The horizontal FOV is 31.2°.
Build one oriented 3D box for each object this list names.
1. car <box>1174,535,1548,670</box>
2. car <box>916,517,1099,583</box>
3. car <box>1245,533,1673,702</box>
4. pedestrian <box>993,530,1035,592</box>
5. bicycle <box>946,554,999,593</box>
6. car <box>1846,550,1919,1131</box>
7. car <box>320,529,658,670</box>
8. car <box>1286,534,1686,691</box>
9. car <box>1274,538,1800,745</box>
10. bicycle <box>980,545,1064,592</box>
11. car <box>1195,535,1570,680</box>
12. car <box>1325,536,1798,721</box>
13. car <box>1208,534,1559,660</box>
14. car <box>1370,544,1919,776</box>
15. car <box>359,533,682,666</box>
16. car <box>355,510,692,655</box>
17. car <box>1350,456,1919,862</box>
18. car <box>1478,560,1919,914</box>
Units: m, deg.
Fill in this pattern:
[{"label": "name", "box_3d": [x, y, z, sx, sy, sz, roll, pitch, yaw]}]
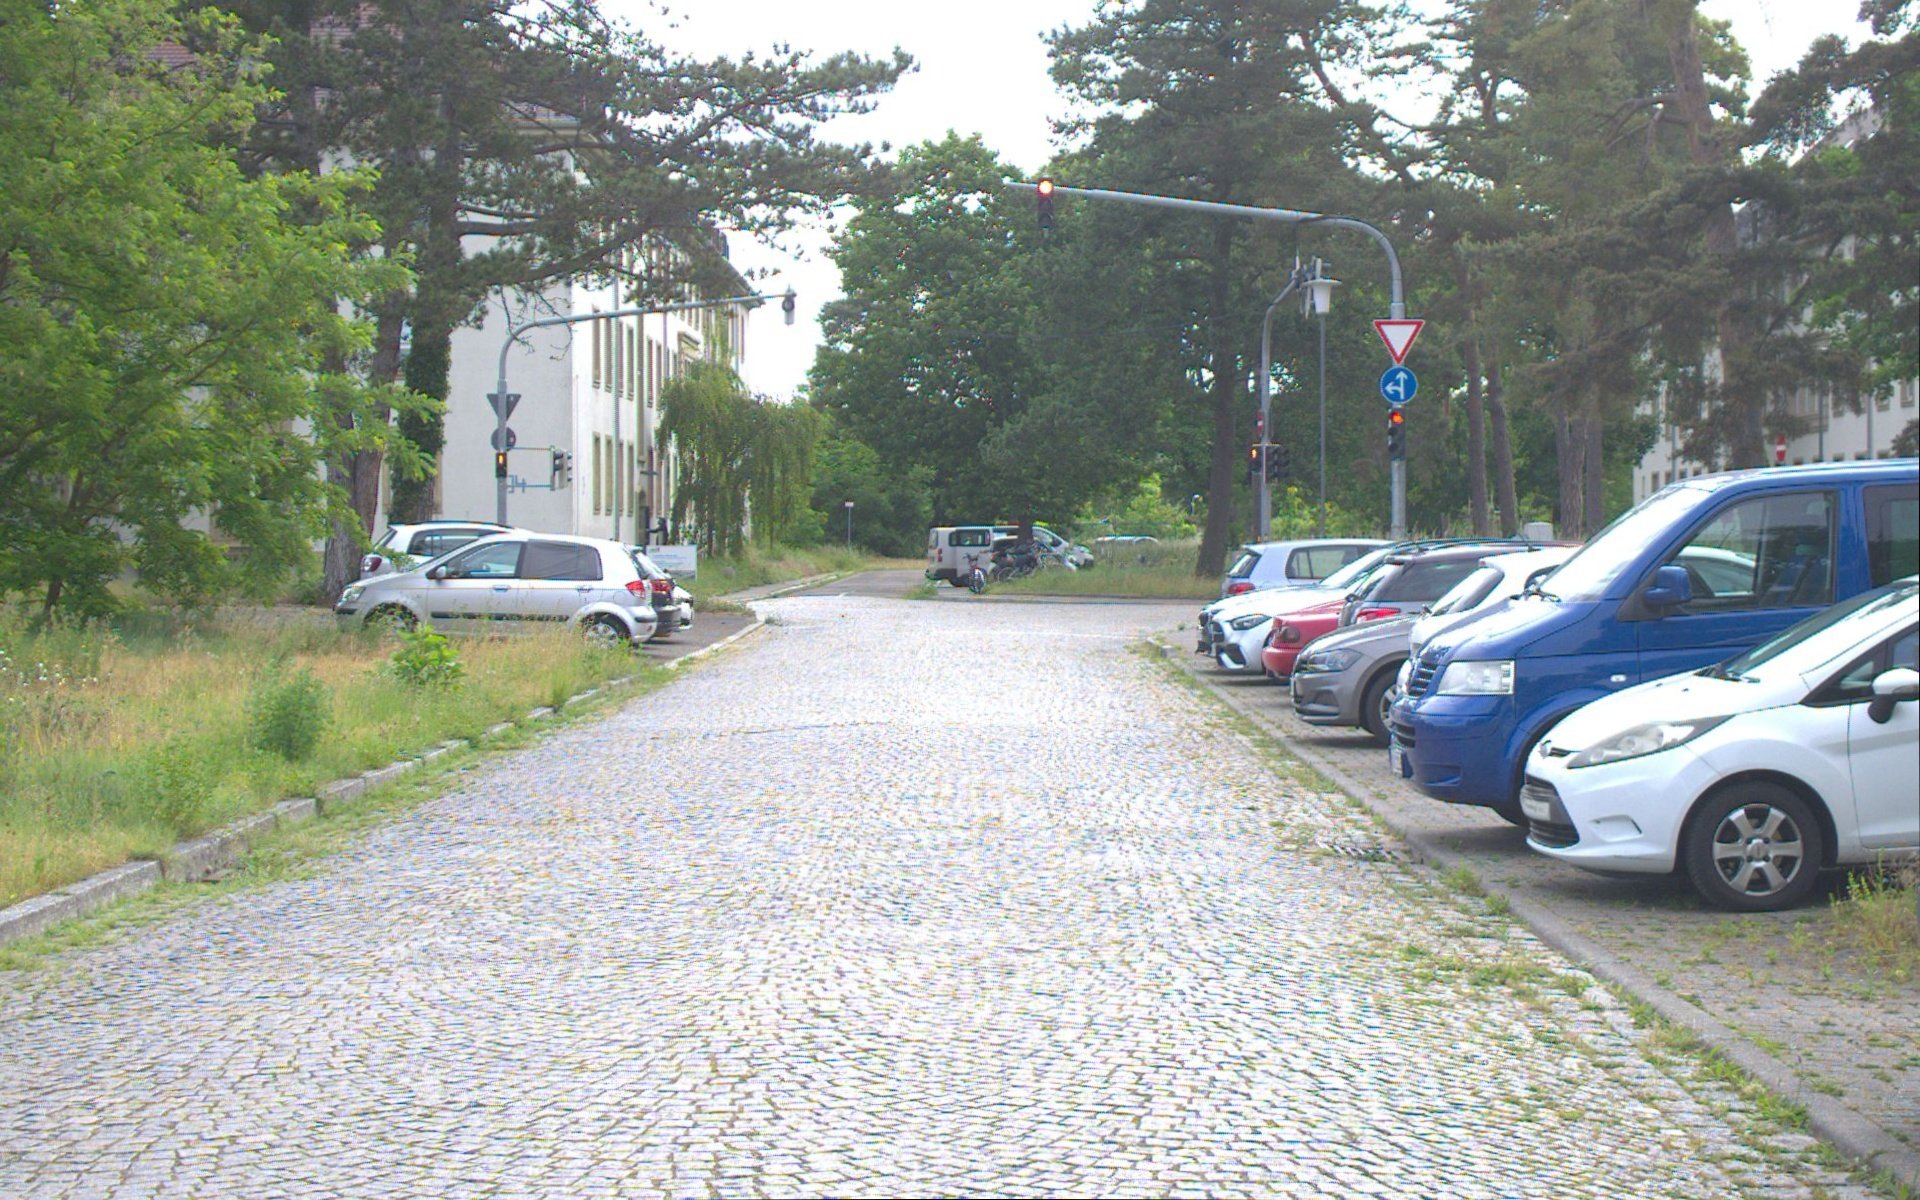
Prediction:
[{"label": "car", "box_3d": [4.518, 0.015, 39.063, 3.967, 1.416, 1.620, -1, 1, -4]}, {"label": "car", "box_3d": [1.487, -1.578, 108.586, 5.444, 2.007, 2.269, 1, 1, -8]}, {"label": "car", "box_3d": [4.551, 0.147, 31.669, 3.671, 1.444, 1.524, -1, 1, -1]}, {"label": "pedestrian", "box_3d": [1.435, -1.040, 91.023, 1.033, 1.608, 0.757, 1, 1, -4]}, {"label": "bicycle", "box_3d": [0.306, -0.673, 86.632, 0.620, 0.941, 1.663, 0, 1, -27]}, {"label": "car", "box_3d": [4.569, 0.607, 8.949, 4.028, 1.547, 1.751, -1, 1, -2]}, {"label": "car", "box_3d": [-5.541, -0.015, 40.780, 3.821, 1.567, 1.564, -1, 1, -3]}, {"label": "car", "box_3d": [5.151, 0.110, 33.946, 3.671, 1.444, 1.524, -1, 1, -1]}, {"label": "car", "box_3d": [4.303, 0.291, 25.979, 3.671, 1.444, 1.524, -1, 1, -1]}, {"label": "bicycle", "box_3d": [1.632, -0.826, 90.681, 2.136, 1.210, 0.622, 1, 1, -4]}, {"label": "car", "box_3d": [4.419, 0.064, 36.209, 3.671, 1.416, 1.524, -1, 1, -4]}, {"label": "car", "box_3d": [5.018, 0.221, 28.957, 3.671, 1.444, 1.524, -1, 1, -1]}, {"label": "car", "box_3d": [5.101, -0.051, 41.705, 3.967, 1.416, 1.620, -1, 1, -4]}, {"label": "car", "box_3d": [4.714, 0.378, 23.195, 3.671, 1.444, 1.524, -1, 1, -1]}, {"label": "car", "box_3d": [-5.488, -0.023, 43.196, 3.821, 1.567, 1.564, -1, 1, 0]}, {"label": "car", "box_3d": [-5.823, -0.241, 46.186, 4.262, 1.834, 1.744, -1, 1, 0]}, {"label": "car", "box_3d": [4.553, 0.252, 17.915, 4.754, 1.948, 1.931, -1, 1, -1]}, {"label": "car", "box_3d": [4.296, 0.552, 15.330, 3.671, 1.444, 1.615, -1, 1, -2]}]
